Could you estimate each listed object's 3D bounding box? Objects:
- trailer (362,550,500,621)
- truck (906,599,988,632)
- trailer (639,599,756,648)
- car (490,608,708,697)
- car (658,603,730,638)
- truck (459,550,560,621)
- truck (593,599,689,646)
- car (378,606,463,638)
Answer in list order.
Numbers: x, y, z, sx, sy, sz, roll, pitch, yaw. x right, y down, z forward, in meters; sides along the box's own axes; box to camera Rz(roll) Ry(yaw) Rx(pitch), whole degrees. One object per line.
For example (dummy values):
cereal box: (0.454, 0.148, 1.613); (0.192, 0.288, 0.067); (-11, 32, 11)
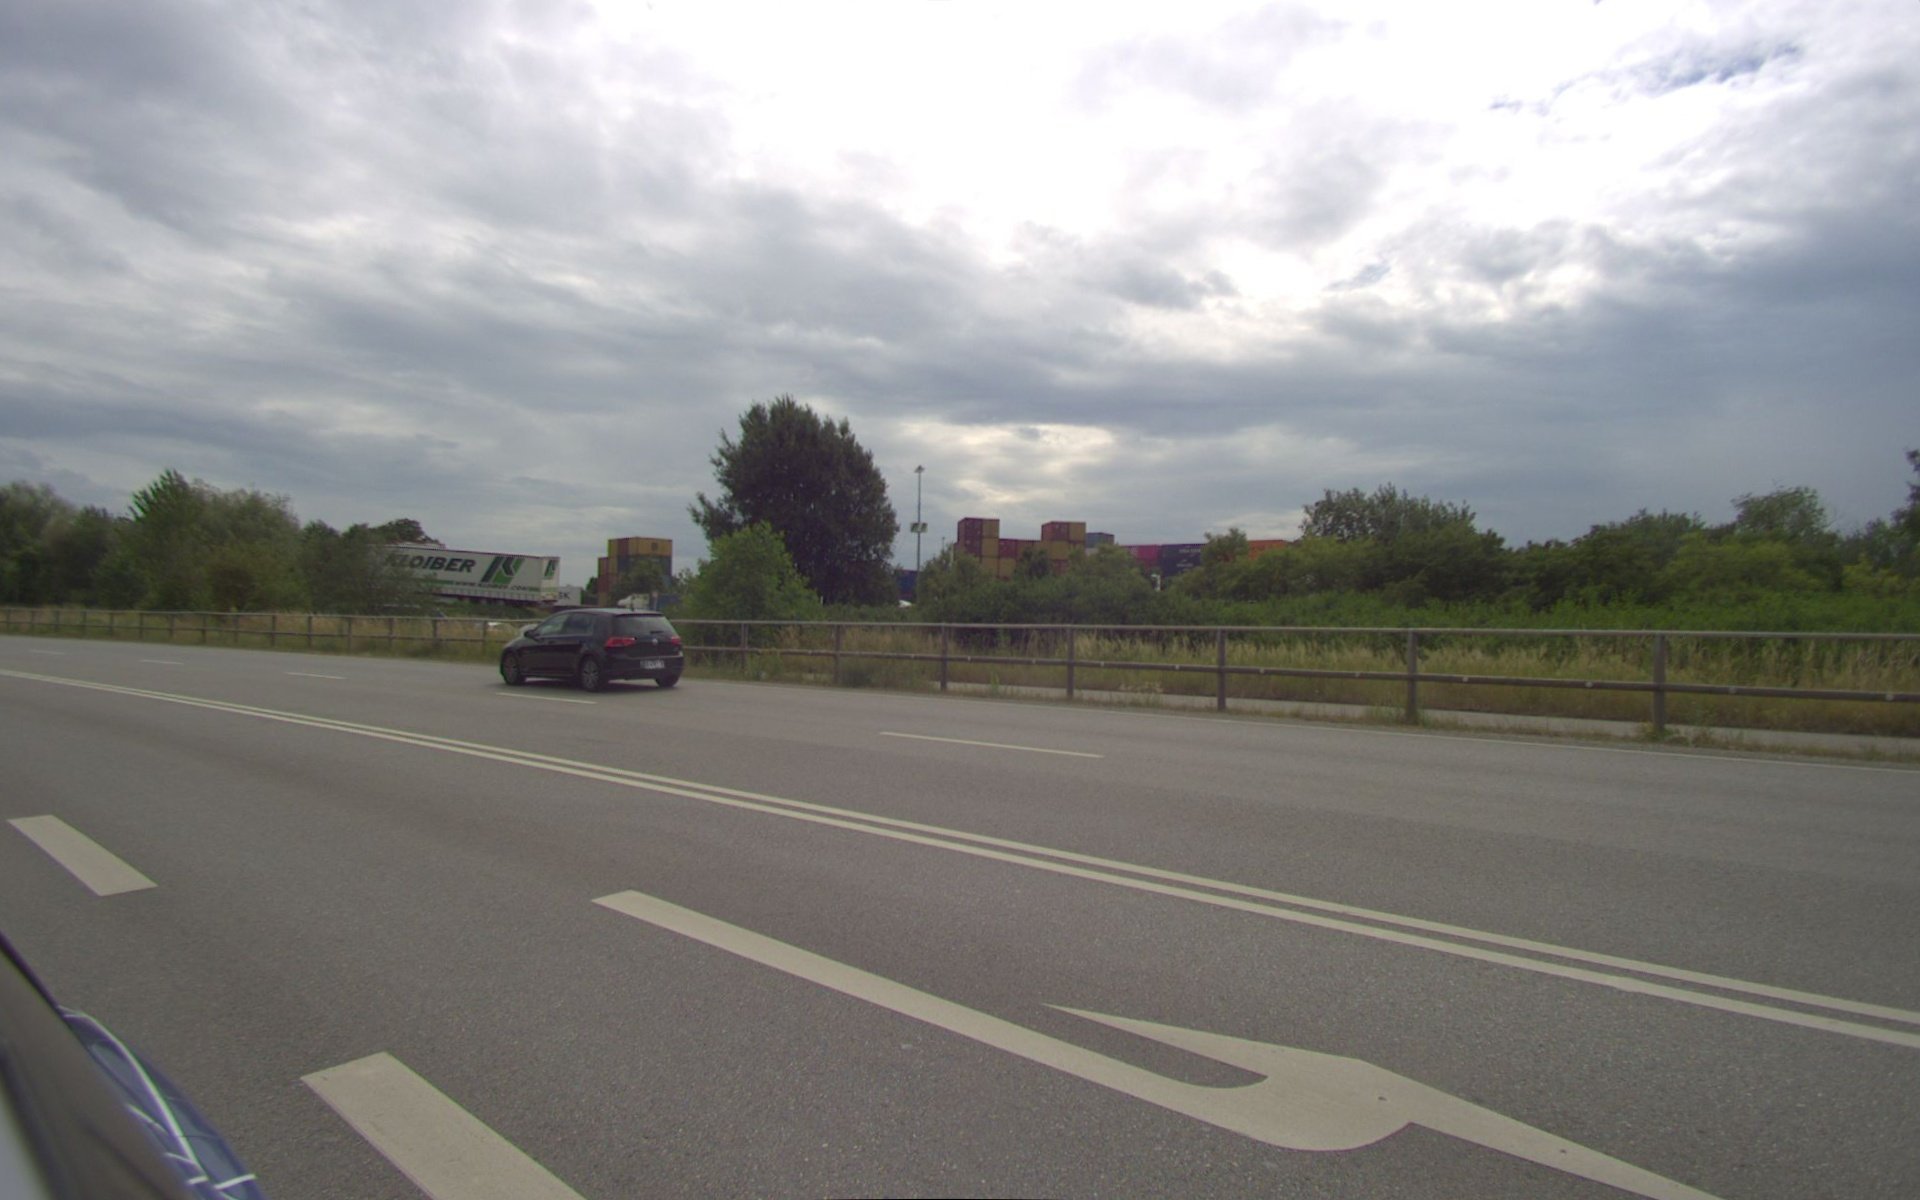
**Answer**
trailer: (-38.616, -1.064, 74.008); (8.873, 5.034, 2.802); (0, 0, 6)
truck: (-1.111, 1.259, 84.093); (6.554, 2.702, 2.656); (0, 0, -5)
trailer: (-23.969, 2.105, 92.241); (10.326, 4.325, 3.221); (0, -1, 20)
car: (-6.682, 0.887, 18.609); (3.993, 1.452, 1.928); (-1, -1, 37)
car: (-14.396, 1.056, 55.006); (1.979, 1.747, 4.569); (0, 1, 11)
truck: (-32.584, -1.036, 73.341); (6.114, 5.034, 2.799); (0, 0, 6)
truck: (-29.727, 2.044, 94.359); (8.255, 4.325, 3.221); (0, -1, 20)
car: (-33.333, 1.346, 62.580); (4.470, 1.890, 2.005); (0, 0, -34)
